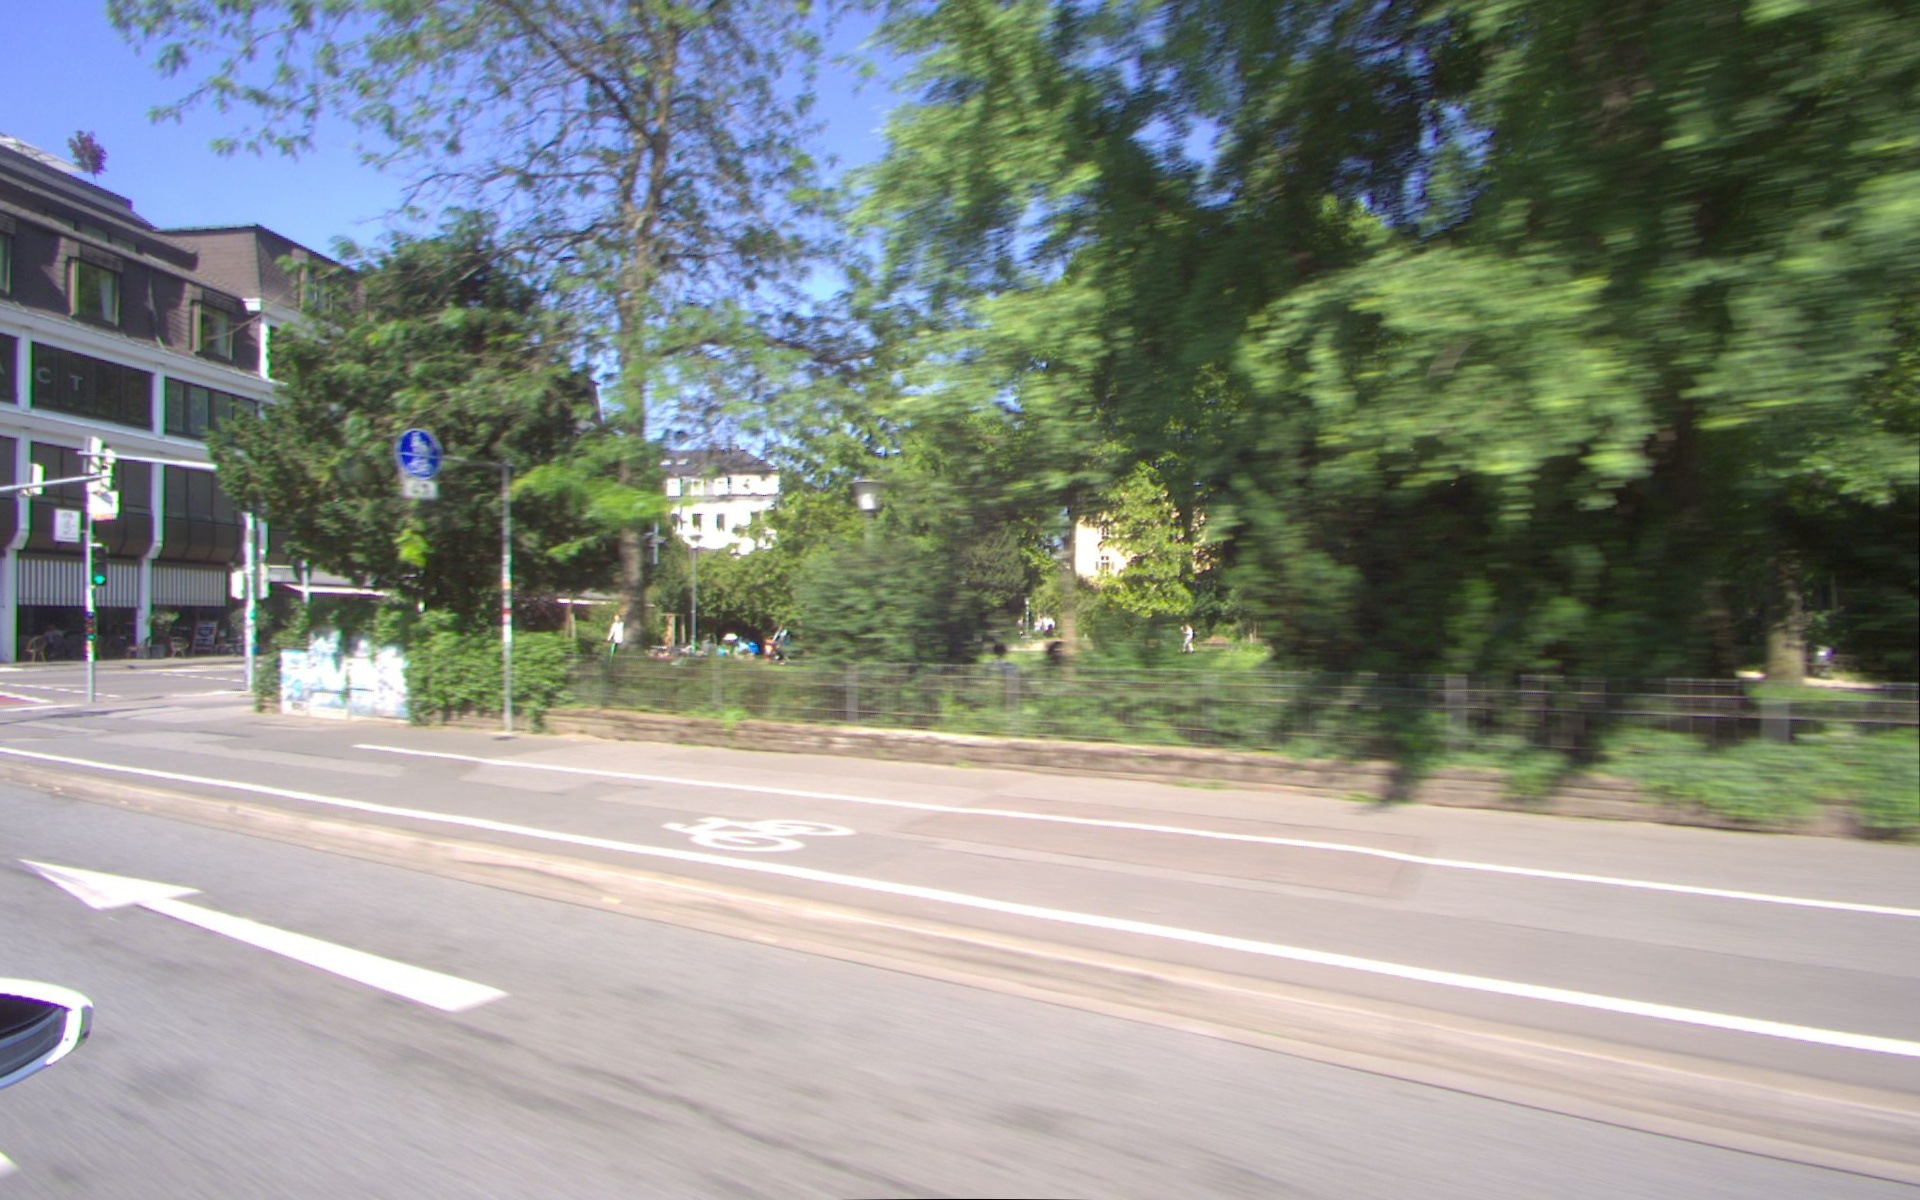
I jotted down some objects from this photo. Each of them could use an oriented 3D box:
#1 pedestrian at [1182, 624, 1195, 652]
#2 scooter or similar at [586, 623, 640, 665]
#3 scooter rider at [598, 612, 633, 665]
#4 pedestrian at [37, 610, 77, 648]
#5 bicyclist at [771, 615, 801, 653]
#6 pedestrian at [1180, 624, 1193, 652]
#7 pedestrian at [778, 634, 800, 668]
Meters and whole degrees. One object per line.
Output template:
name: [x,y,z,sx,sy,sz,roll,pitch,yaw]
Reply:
pedestrian: [13.856,2.304,60.743,0.677,1.705,0.661,0,-1,21]
scooter or similar: [-11.115,1.384,32.112,0.806,1.315,1.694,-1,-1,16]
scooter rider: [-11.077,1.226,32.201,0.809,1.693,0.708,-1,0,16]
pedestrian: [-33.059,1.070,36.677,0.816,1.352,0.968,1,-1,-26]
bicyclist: [-7.383,1.436,42.436,0.854,1.595,0.940,-1,-1,24]
pedestrian: [13.962,2.322,61.725,0.677,1.705,0.661,0,-1,21]
pedestrian: [-6.613,1.958,38.758,0.703,1.286,0.452,0,-1,22]
